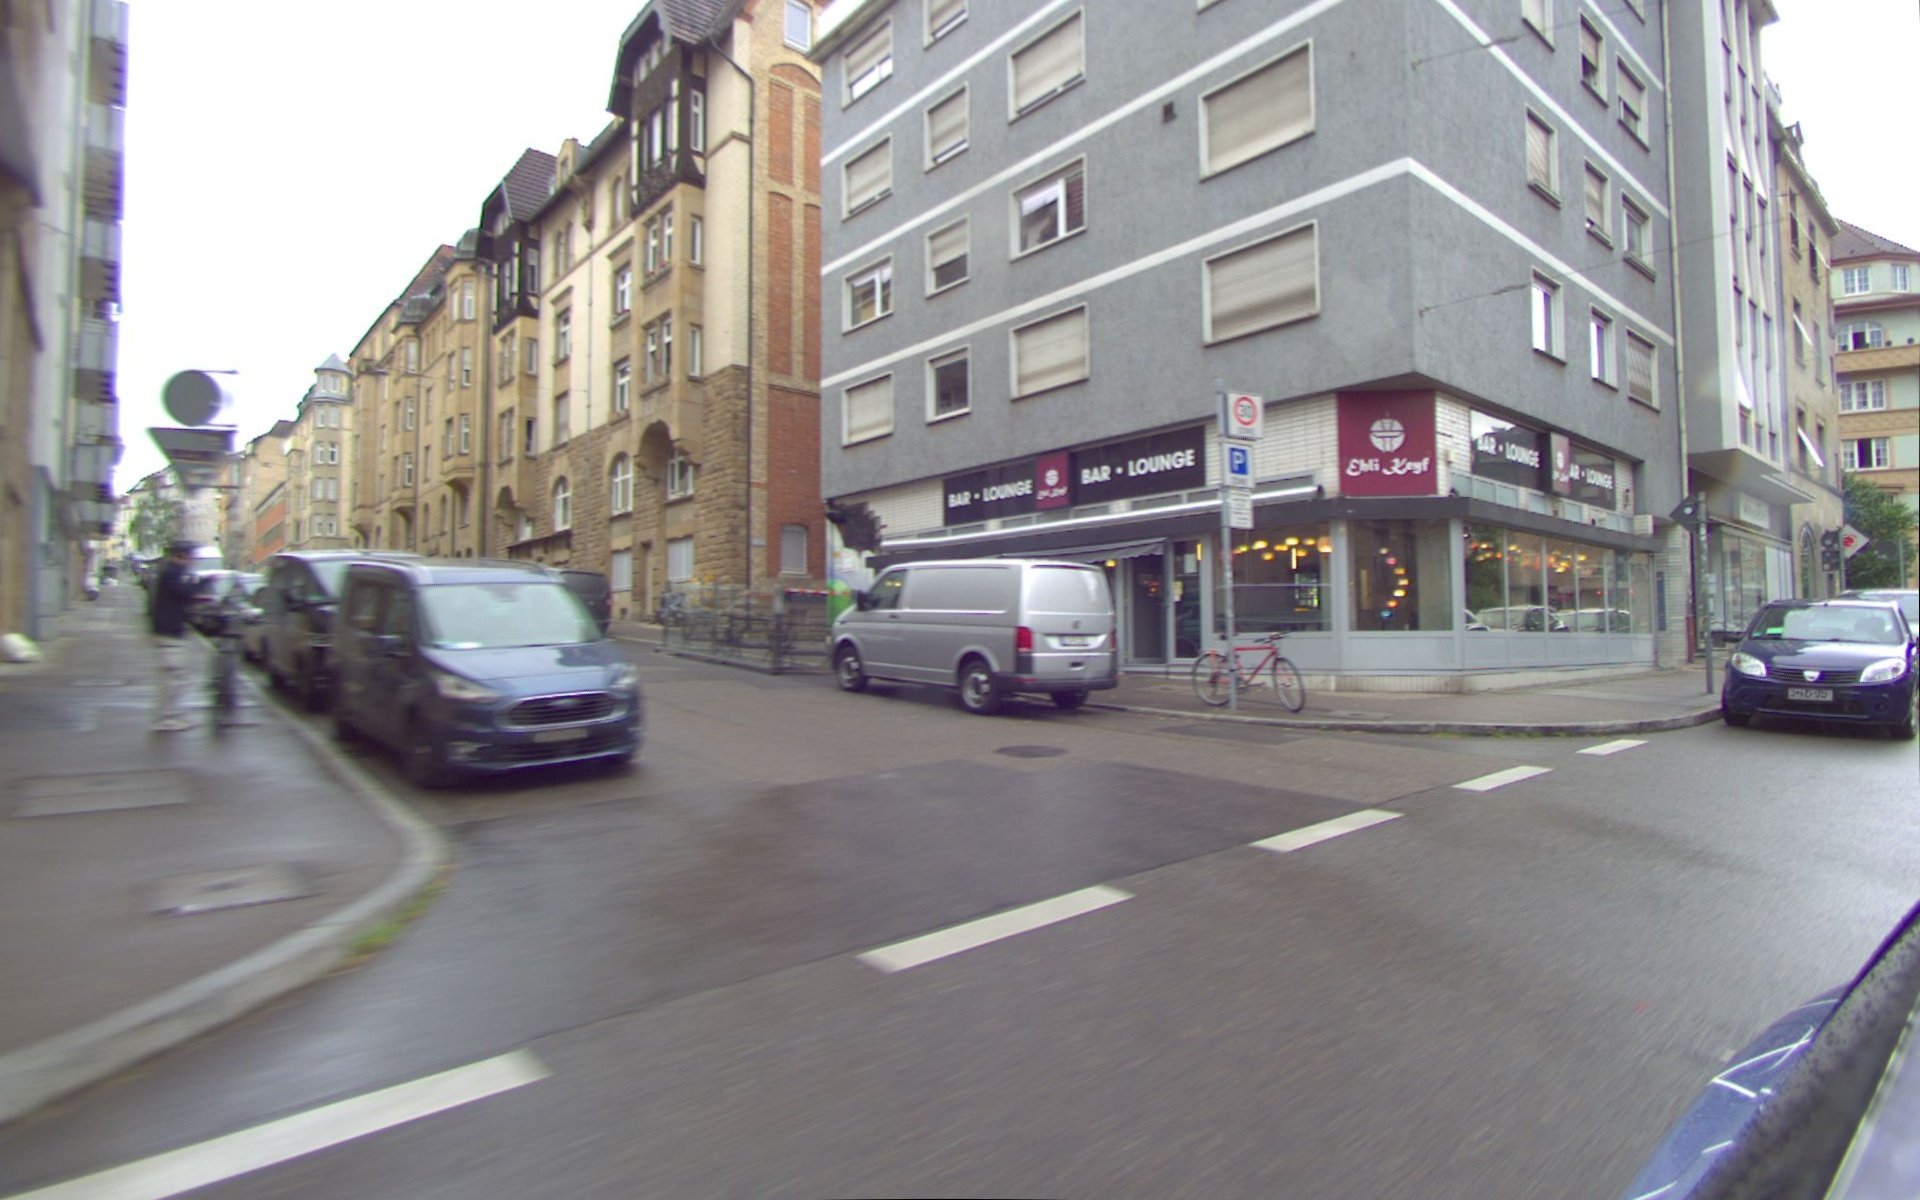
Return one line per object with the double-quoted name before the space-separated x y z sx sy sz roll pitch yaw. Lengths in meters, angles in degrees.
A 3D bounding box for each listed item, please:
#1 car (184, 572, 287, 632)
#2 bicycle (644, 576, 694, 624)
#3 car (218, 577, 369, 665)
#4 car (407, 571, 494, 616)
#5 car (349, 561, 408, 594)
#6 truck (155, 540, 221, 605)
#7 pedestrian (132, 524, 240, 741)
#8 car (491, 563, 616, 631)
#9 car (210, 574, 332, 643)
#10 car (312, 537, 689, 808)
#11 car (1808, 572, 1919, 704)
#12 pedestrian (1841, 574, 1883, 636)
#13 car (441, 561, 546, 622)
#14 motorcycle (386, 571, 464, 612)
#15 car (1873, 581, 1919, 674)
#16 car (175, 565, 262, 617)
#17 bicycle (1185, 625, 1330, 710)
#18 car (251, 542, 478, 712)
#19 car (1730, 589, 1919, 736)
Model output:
"car" -18.911 0.001 26.340 1.830 1.408 4.180 0 1 -41
"bicycle" -8.902 -0.019 30.883 0.526 1.425 2.300 0 0 -41
"car" -12.497 0.308 18.851 1.830 1.408 4.180 0 1 -41
"car" -18.645 -0.218 36.944 1.891 1.523 4.099 2 -1 -41
"car" -28.711 -1.078 49.914 1.793 1.523 4.099 2 -1 -41
"truck" -32.762 -1.174 42.884 1.830 2.554 6.710 0 1 -41
"pedestrian" -7.642 0.314 9.995 0.743 2.039 0.627 3 -2 -40
"car" -11.487 -0.068 28.419 1.891 1.761 4.477 2 -1 -41
"car" -15.699 0.131 22.972 1.830 1.408 4.180 0 1 -41
"car" -4.538 0.443 9.517 1.965 1.885 4.786 0 1 -41
"car" 14.472 0.505 15.360 4.487 1.783 1.795 0 -1 -42
"pedestrian" 27.201 0.152 30.514 0.832 1.840 0.852 0 0 -40
"car" -15.099 -0.263 32.617 1.891 1.827 4.477 2 -1 -41
"motorcycle" -20.996 -0.319 39.773 0.974 1.523 2.555 0 -1 33
"car" 19.098 0.491 19.460 4.177 1.675 1.821 0 1 -41
"car" -22.693 -0.311 30.903 1.830 1.502 4.180 0 1 -41
"bicycle" 3.716 0.822 12.774 0.524 0.986 1.752 0 -2 -39
"car" -8.384 0.186 14.028 1.965 1.949 4.716 -2 4 -40
"car" 10.691 0.631 12.263 1.691 1.501 3.866 0 0 45
